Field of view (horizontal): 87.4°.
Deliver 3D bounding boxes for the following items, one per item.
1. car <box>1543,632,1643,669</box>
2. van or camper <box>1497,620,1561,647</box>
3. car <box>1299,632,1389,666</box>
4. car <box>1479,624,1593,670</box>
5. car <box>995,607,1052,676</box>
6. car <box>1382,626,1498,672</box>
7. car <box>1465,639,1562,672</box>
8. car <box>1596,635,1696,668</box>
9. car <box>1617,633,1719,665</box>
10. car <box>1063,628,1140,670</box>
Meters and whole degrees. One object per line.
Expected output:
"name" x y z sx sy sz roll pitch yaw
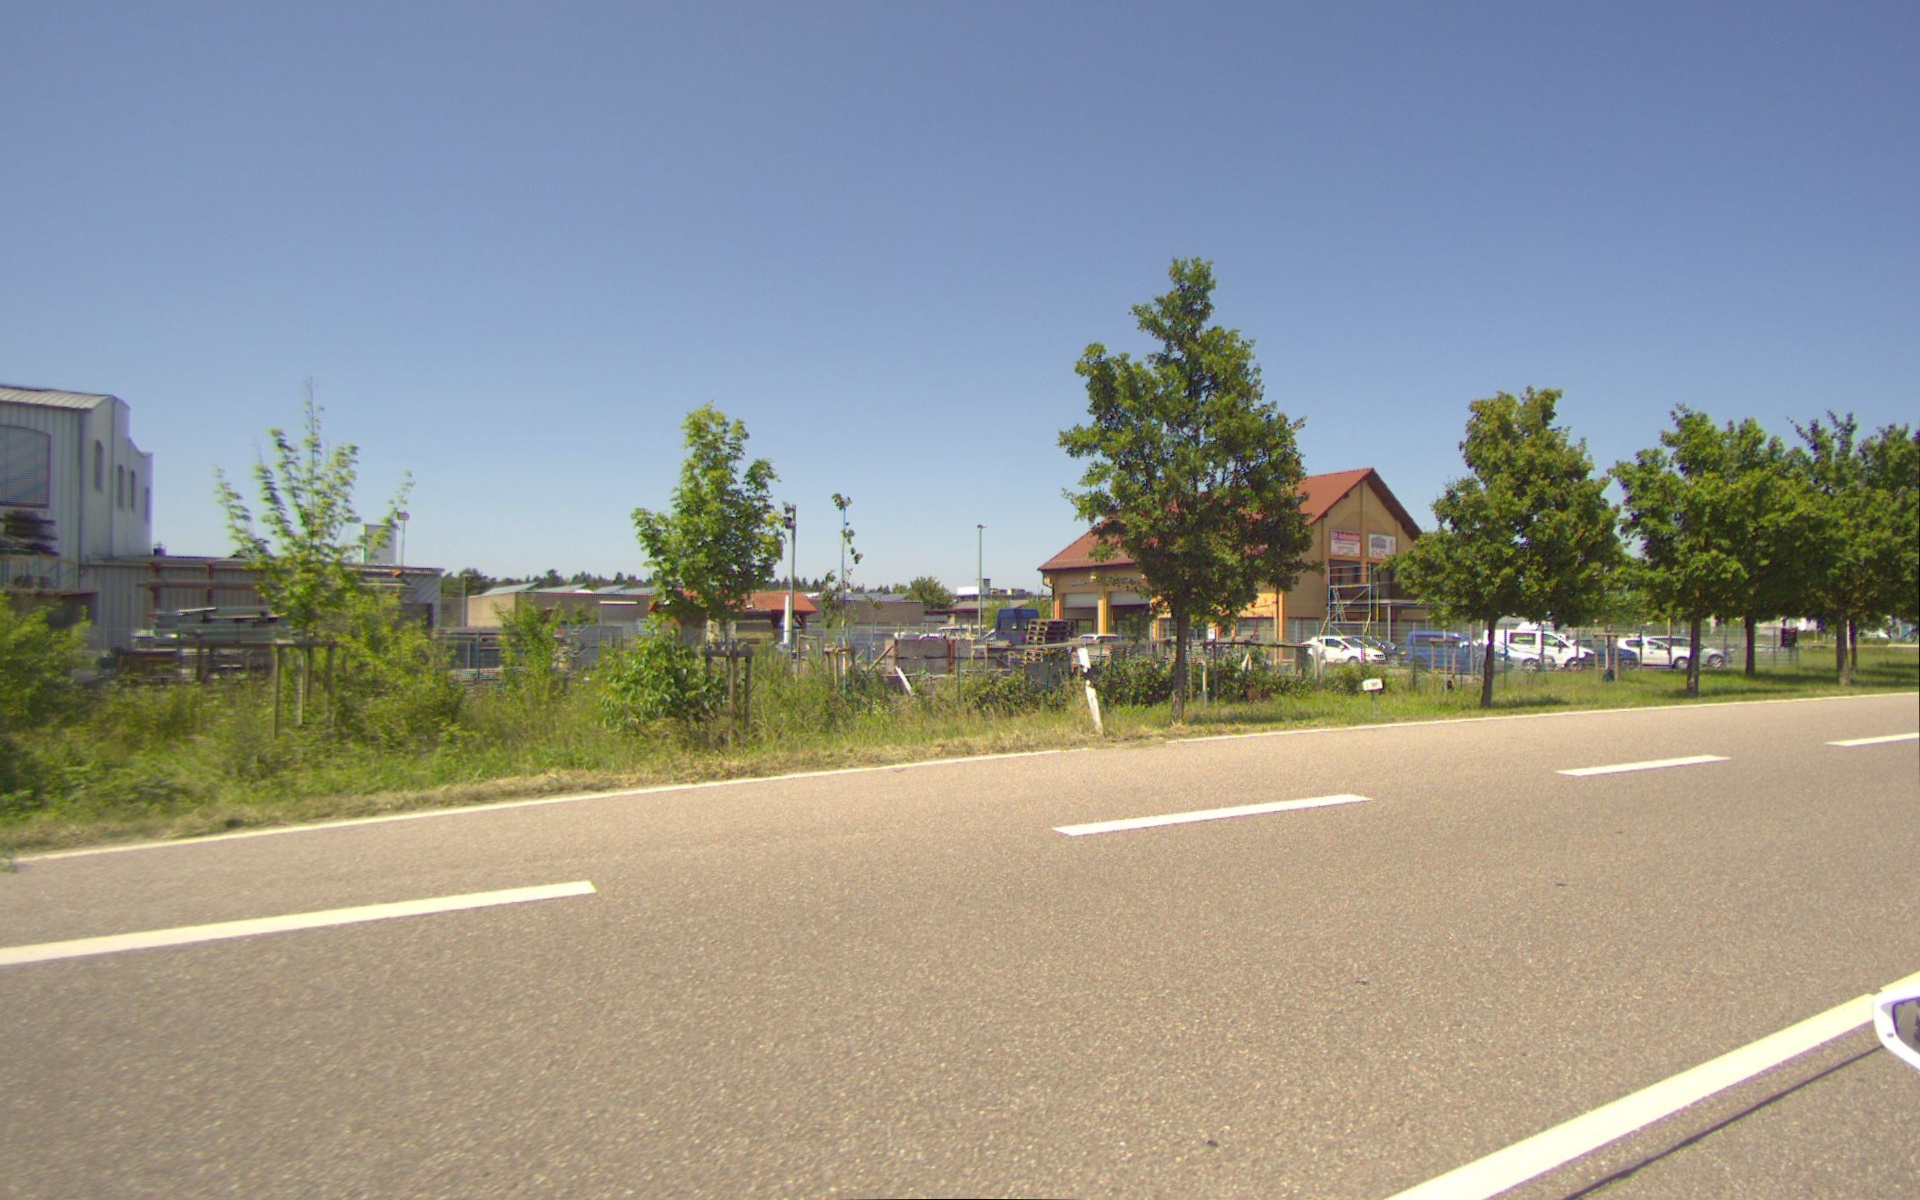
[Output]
"car" 30.963 2.458 49.263 3.924 1.617 1.998 1 -1 25
"van or camper" 52.592 3.087 92.773 6.470 2.394 2.448 2 -1 -34
"car" 17.763 2.230 46.593 1.624 1.427 3.666 1 -1 -32
"car" 27.126 2.182 47.462 4.580 1.980 1.824 1 0 29
"car" 2.697 1.776 43.289 2.318 2.758 5.748 0 -2 3
"car" 20.840 2.085 43.686 4.237 1.825 2.017 1 -1 38
"car" 24.609 2.448 44.683 3.618 1.281 1.810 1 -1 35
"car" 35.046 2.612 51.425 3.916 1.499 1.672 1 0 22
"car" 38.130 2.622 54.208 4.258 1.563 1.589 1 0 22
"car" 6.476 2.264 46.586 2.021 1.830 4.624 0 -2 -13
